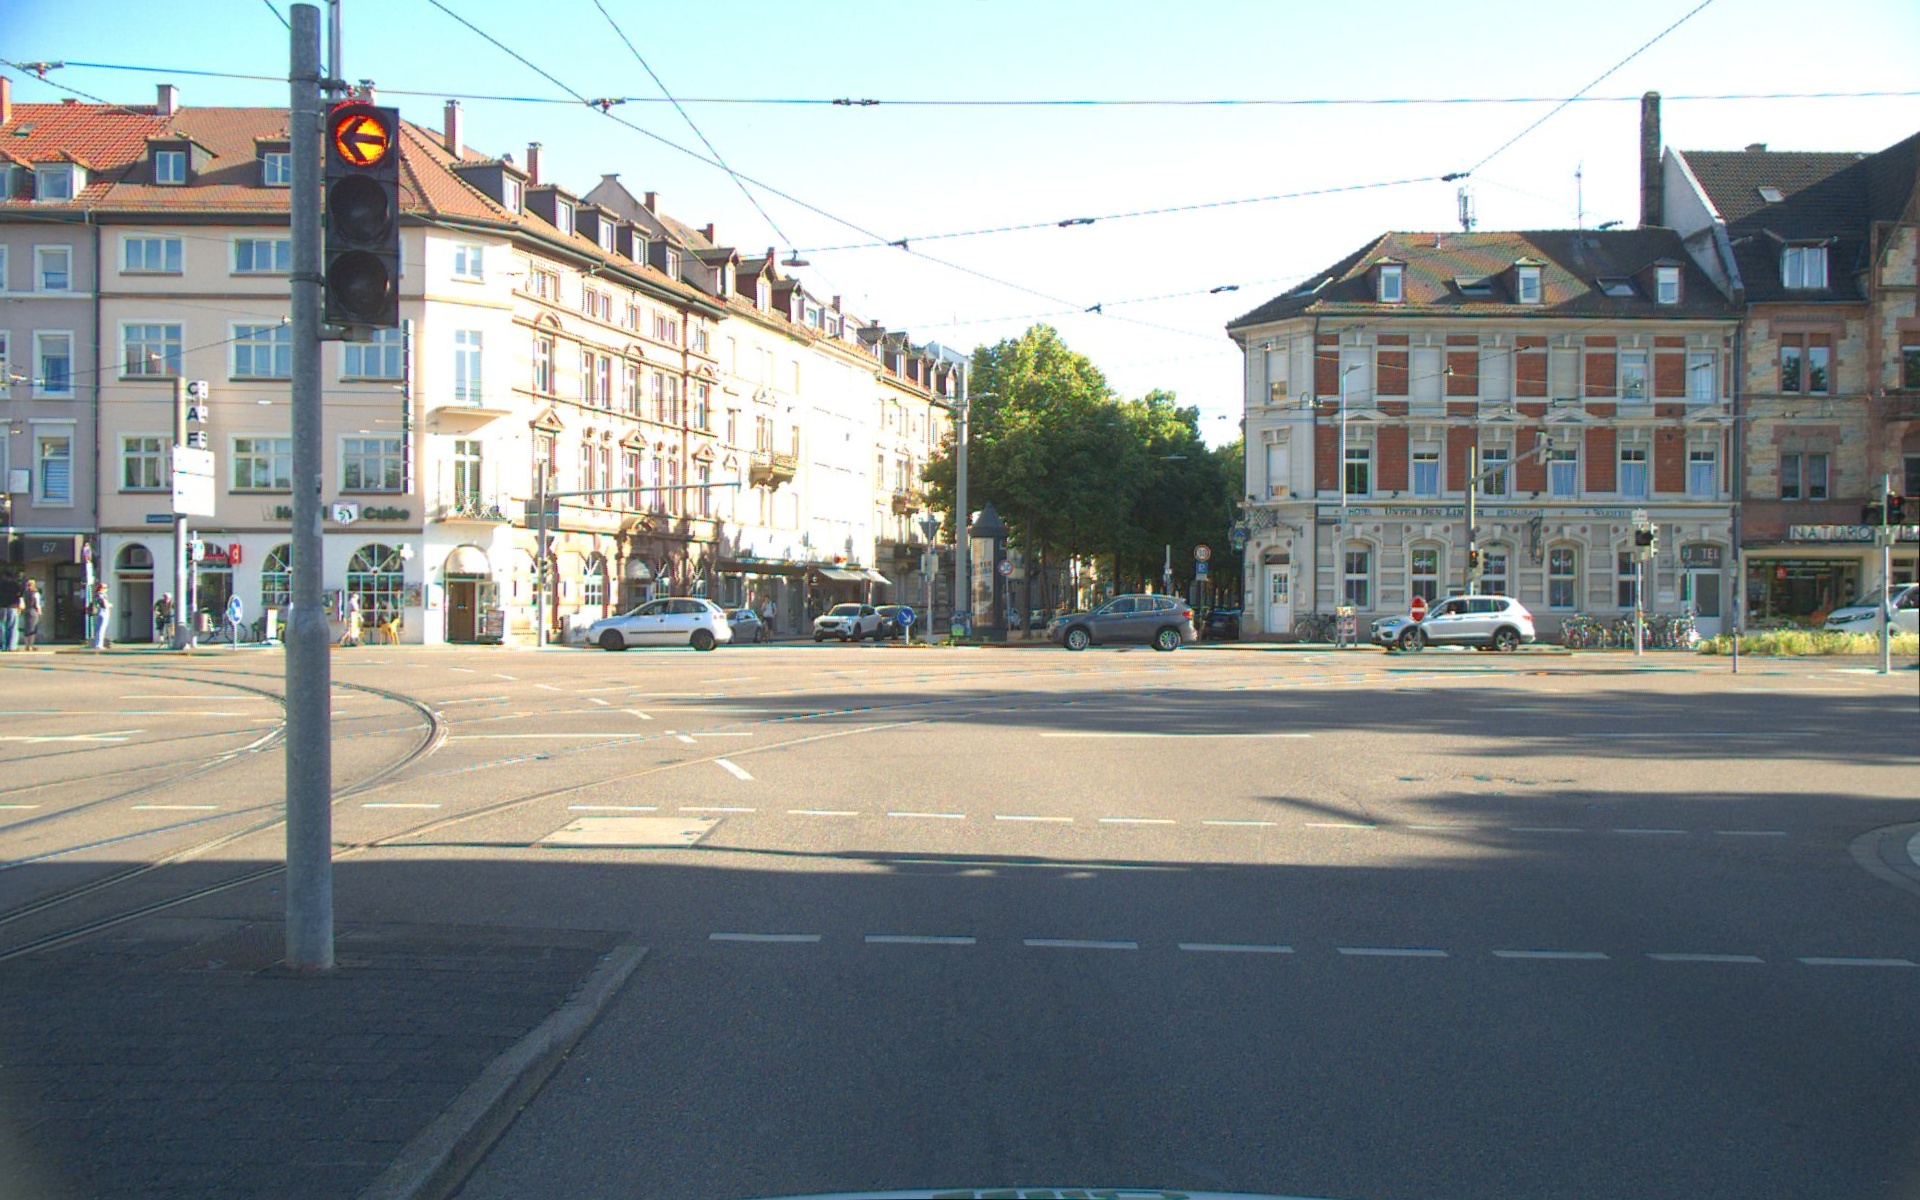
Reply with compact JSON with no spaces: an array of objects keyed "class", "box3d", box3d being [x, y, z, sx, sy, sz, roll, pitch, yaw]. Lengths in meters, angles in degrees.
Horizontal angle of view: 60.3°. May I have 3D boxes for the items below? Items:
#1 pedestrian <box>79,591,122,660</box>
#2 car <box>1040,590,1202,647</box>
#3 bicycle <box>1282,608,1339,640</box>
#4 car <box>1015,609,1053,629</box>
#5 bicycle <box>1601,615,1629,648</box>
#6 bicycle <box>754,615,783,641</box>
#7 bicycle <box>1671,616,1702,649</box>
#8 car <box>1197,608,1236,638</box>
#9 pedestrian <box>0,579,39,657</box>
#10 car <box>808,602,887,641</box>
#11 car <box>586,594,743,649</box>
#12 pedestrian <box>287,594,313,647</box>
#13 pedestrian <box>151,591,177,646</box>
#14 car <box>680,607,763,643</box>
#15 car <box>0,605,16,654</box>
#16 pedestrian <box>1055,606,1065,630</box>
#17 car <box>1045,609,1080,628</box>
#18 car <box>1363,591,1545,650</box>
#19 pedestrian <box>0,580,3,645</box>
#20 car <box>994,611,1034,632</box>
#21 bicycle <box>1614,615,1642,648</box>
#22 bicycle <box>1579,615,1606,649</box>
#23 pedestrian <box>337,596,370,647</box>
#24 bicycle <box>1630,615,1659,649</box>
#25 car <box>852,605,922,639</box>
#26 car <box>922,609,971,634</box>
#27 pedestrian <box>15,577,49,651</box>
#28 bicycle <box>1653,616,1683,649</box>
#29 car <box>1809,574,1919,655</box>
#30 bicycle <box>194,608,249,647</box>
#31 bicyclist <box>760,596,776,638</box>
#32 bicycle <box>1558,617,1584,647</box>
[{"class":"pedestrian","box3d":[-21.353,0.621,41.104,0.725,1.711,0.628,0,0,-1]},{"class":"car","box3d":[4.680,0.525,48.419,4.488,1.644,1.999,0,0,-3]},{"class":"bicycle","box3d":[12.179,0.831,57.509,1.911,1.072,0.716,0,0,9]},{"class":"car","box3d":[5.479,1.378,122.636,1.951,1.429,4.172,0,0,15]},{"class":"bicycle","box3d":[21.165,1.005,53.479,0.476,1.038,1.785,0,0,9]},{"class":"bicycle","box3d":[-7.554,1.099,65.163,0.641,1.018,1.666,1,0,11]},{"class":"bicycle","box3d":[23.592,1.048,53.737,0.476,1.038,1.785,0,0,9]},{"class":"car","box3d":[12.857,1.144,82.701,1.717,1.445,4.003,0,0,12]},{"class":"pedestrian","box3d":[-22.898,0.428,40.082,0.751,1.861,0.722,0,0,-1]},{"class":"car","box3d":[-4.528,0.848,67.383,1.951,1.542,4.172,0,0,15]},{"class":"car","box3d":[-7.990,0.573,44.988,3.946,1.448,1.885,0,0,-1]},{"class":"pedestrian","box3d":[-21.319,0.649,53.423,0.731,1.711,0.623,0,0,-26]},{"class":"pedestrian","box3d":[-24.950,0.584,51.831,0.731,1.711,0.623,0,0,-26]},{"class":"car","box3d":[-9.596,0.986,66.877,1.951,1.385,3.821,0,0,15]},{"class":"car","box3d":[-32.130,0.901,52.152,3.651,1.517,1.818,1,0,2]},{"class":"pedestrian","box3d":[6.006,1.077,99.358,0.535,1.409,0.626,0,0,15]},{"class":"car","box3d":[8.147,1.434,131.503,1.951,1.429,4.172,0,0,15]},{"class":"car","box3d":[14.450,0.579,48.533,4.758,1.682,1.999,0,0,-3]},{"class":"pedestrian","box3d":[-24.294,0.316,41.121,0.685,1.609,0.559,0,0,-6]},{"class":"car","box3d":[3.820,1.484,116.890,1.951,1.429,4.172,0,0,15]},{"class":"bicycle","box3d":[21.614,1.013,53.547,0.476,1.038,1.785,0,0,9]},{"class":"bicycle","box3d":[20.476,1.026,53.571,0.476,1.038,1.785,0,0,9]},{"class":"pedestrian","box3d":[-20.310,0.710,55.406,0.891,1.711,0.742,0,0,-7]},{"class":"bicycle","box3d":[22.113,1.021,53.475,0.476,1.038,1.785,0,0,9]},{"class":"car","box3d":[-3.223,0.954,73.575,1.951,1.429,4.172,0,0,15]},{"class":"car","box3d":[-0.815,1.318,102.052,1.951,1.429,4.172,0,0,15]},{"class":"pedestrian","box3d":[-23.010,0.338,41.016,0.549,1.817,0.559,0,0,-6]},{"class":"bicycle","box3d":[22.908,1.035,53.555,0.476,1.038,1.785,0,0,9]},{"class":"car","box3d":[24.898,0.357,42.756,4.879,2.049,2.000,0,0,-1]},{"class":"bicycle","box3d":[-25.090,0.924,56.214,1.684,1.299,0.385,0,0,-18]},{"class":"bicyclist","box3d":[-7.544,0.654,65.063,0.479,1.629,0.667,0,0,9]},{"class":"bicycle","box3d":[19.806,1.019,53.648,0.476,0.930,1.785,0,0,9]}]
